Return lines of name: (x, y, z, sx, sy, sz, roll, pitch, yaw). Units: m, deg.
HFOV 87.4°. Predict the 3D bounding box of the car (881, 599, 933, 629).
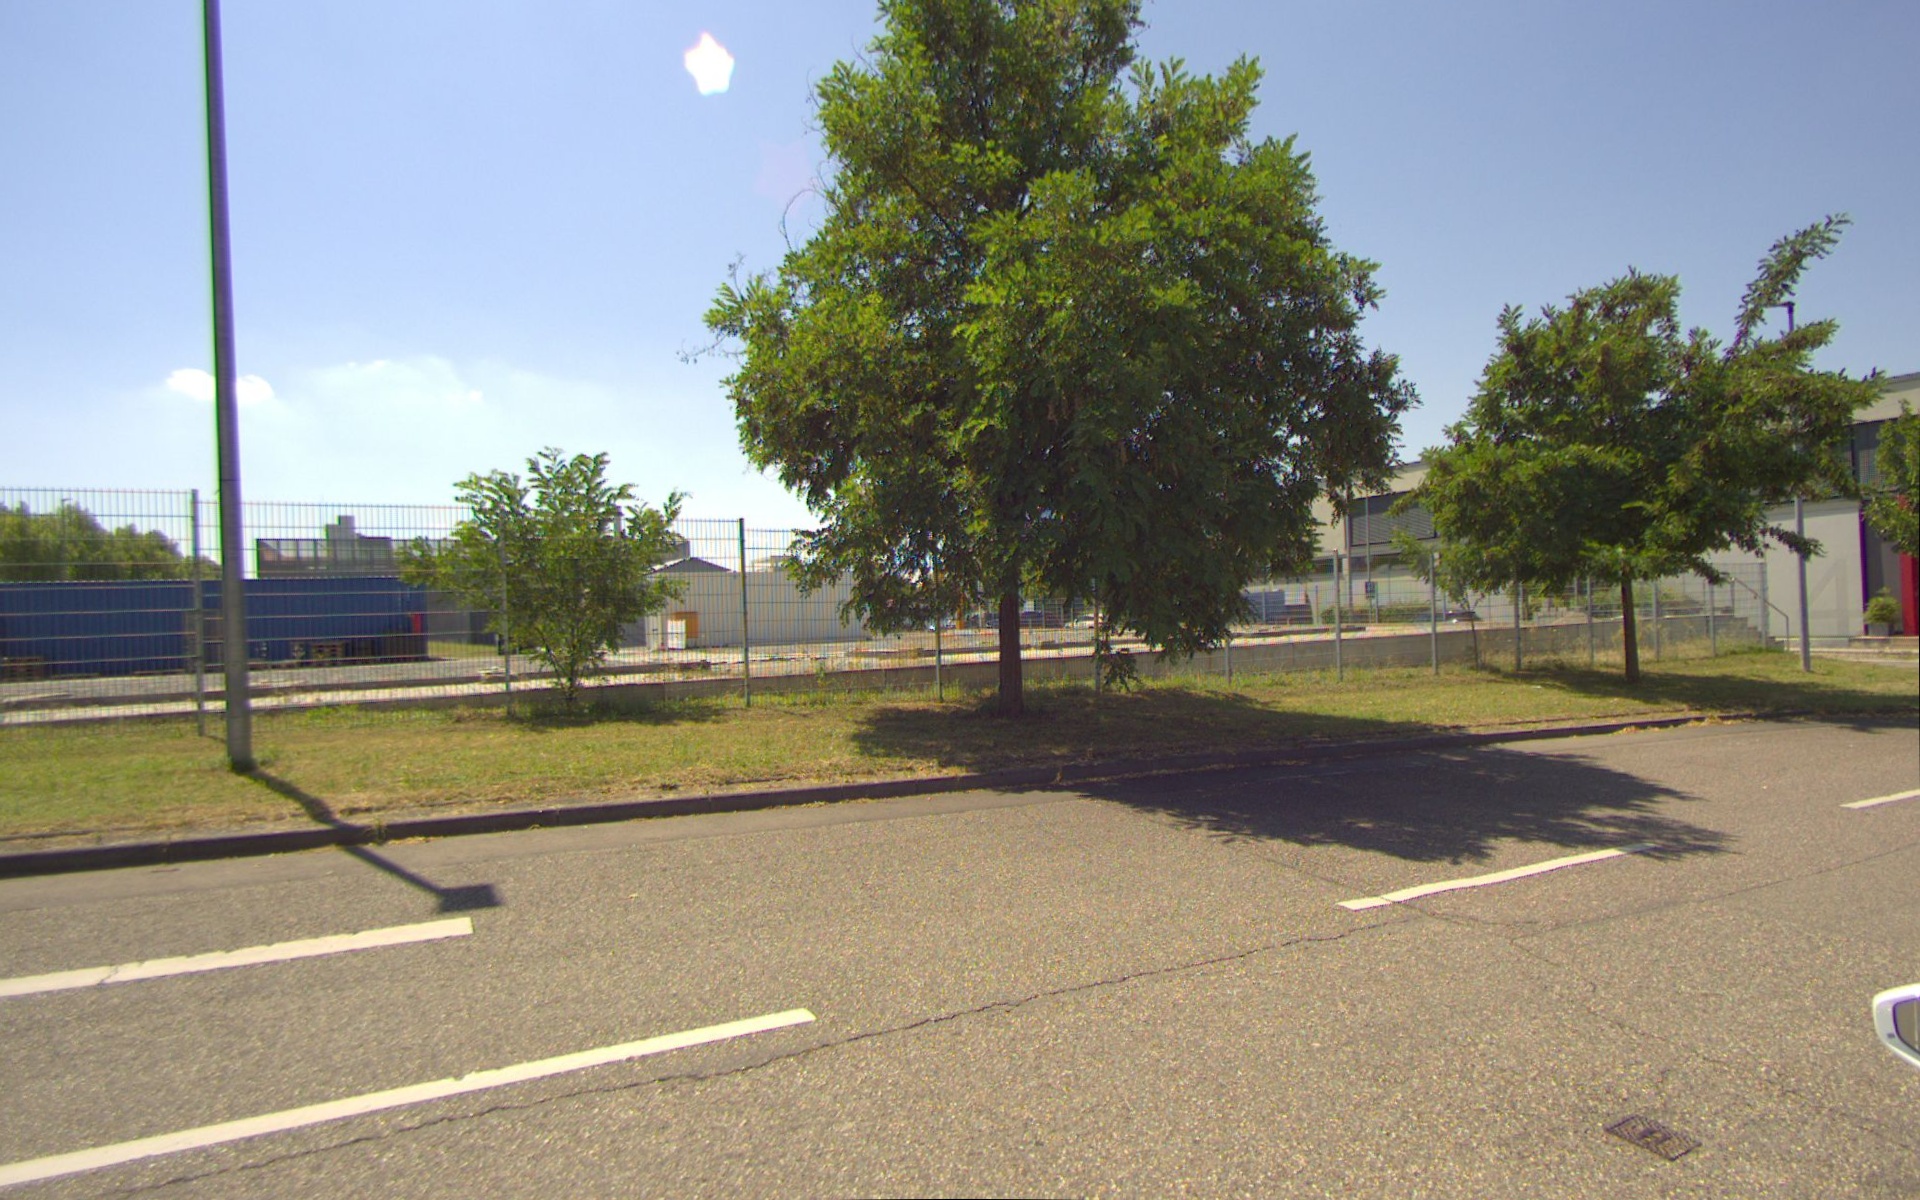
car: (-3.747, 0.955, 70.069, 2.254, 2.040, 3.974, 0, 0, -26)
